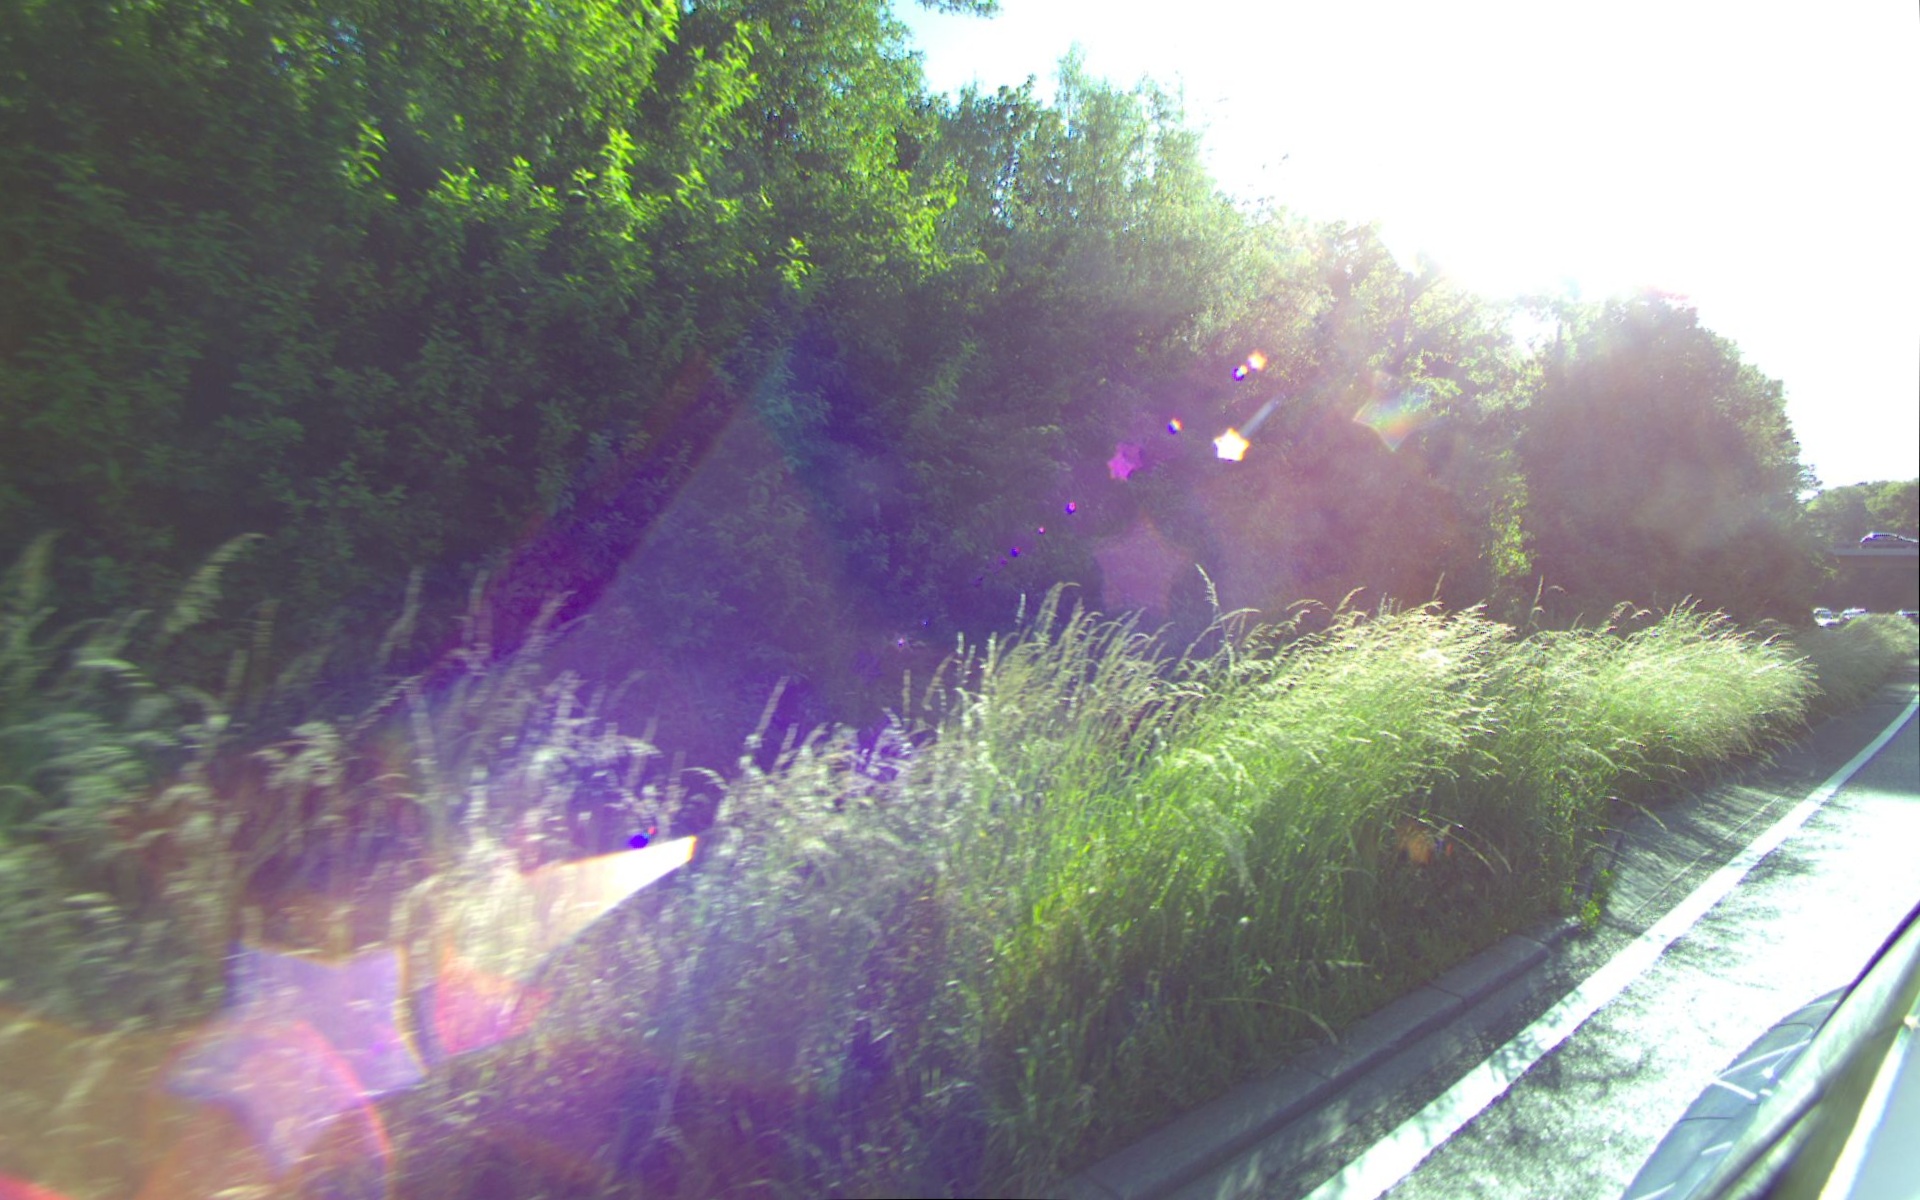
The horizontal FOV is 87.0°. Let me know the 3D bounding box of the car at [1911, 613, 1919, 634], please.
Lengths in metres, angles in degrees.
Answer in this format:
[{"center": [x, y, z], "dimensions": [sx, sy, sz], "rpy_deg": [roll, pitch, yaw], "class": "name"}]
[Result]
[{"center": [78.627, 1.917, 81.902], "dimensions": [1.925, 1.526, 5.018], "rpy_deg": [2, 2, 37], "class": "car"}]
